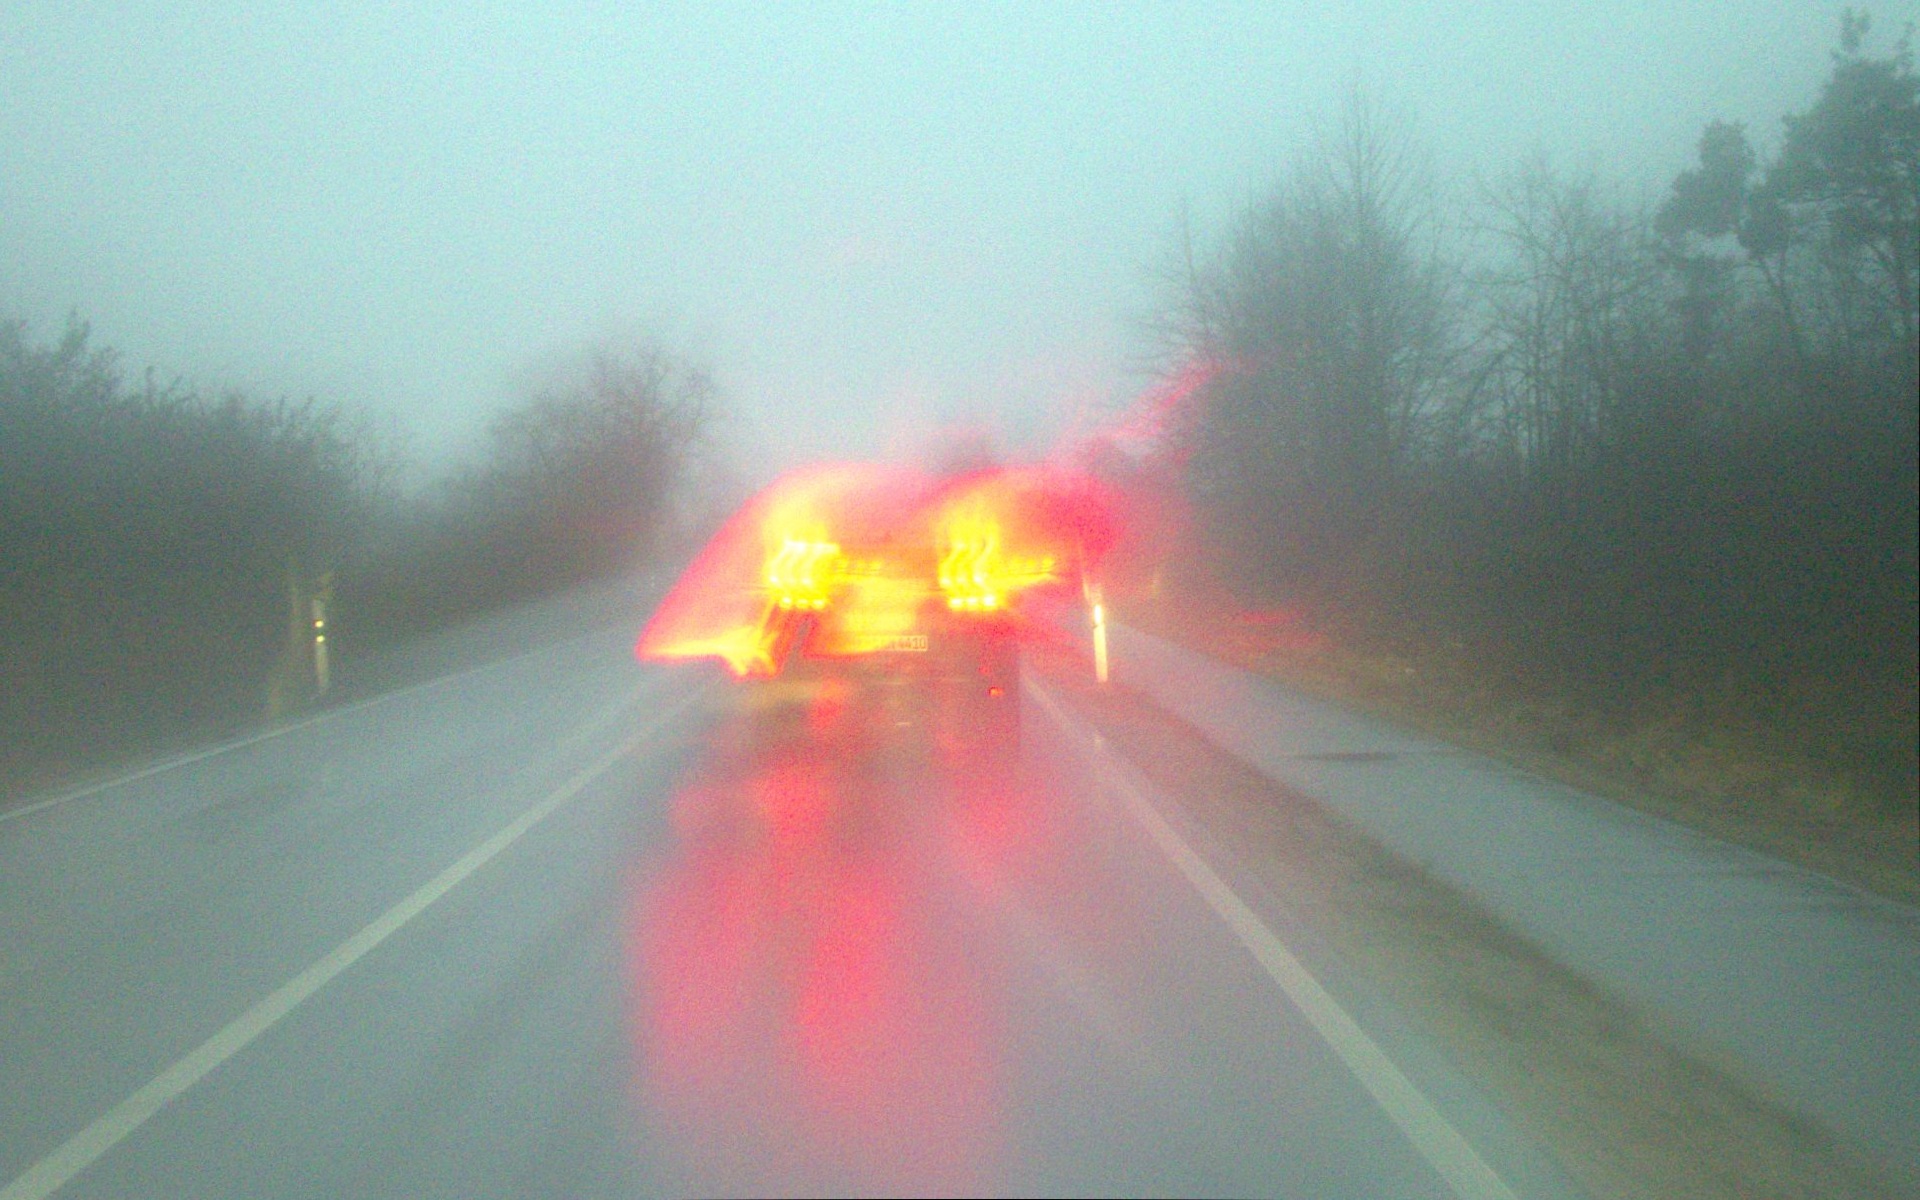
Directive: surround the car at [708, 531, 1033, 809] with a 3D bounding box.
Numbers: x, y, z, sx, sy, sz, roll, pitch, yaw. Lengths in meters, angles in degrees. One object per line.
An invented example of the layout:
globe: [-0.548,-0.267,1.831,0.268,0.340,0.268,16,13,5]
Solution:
car: [-0.628,0.412,24.971,2.120,1.813,4.980,0,1,-1]
